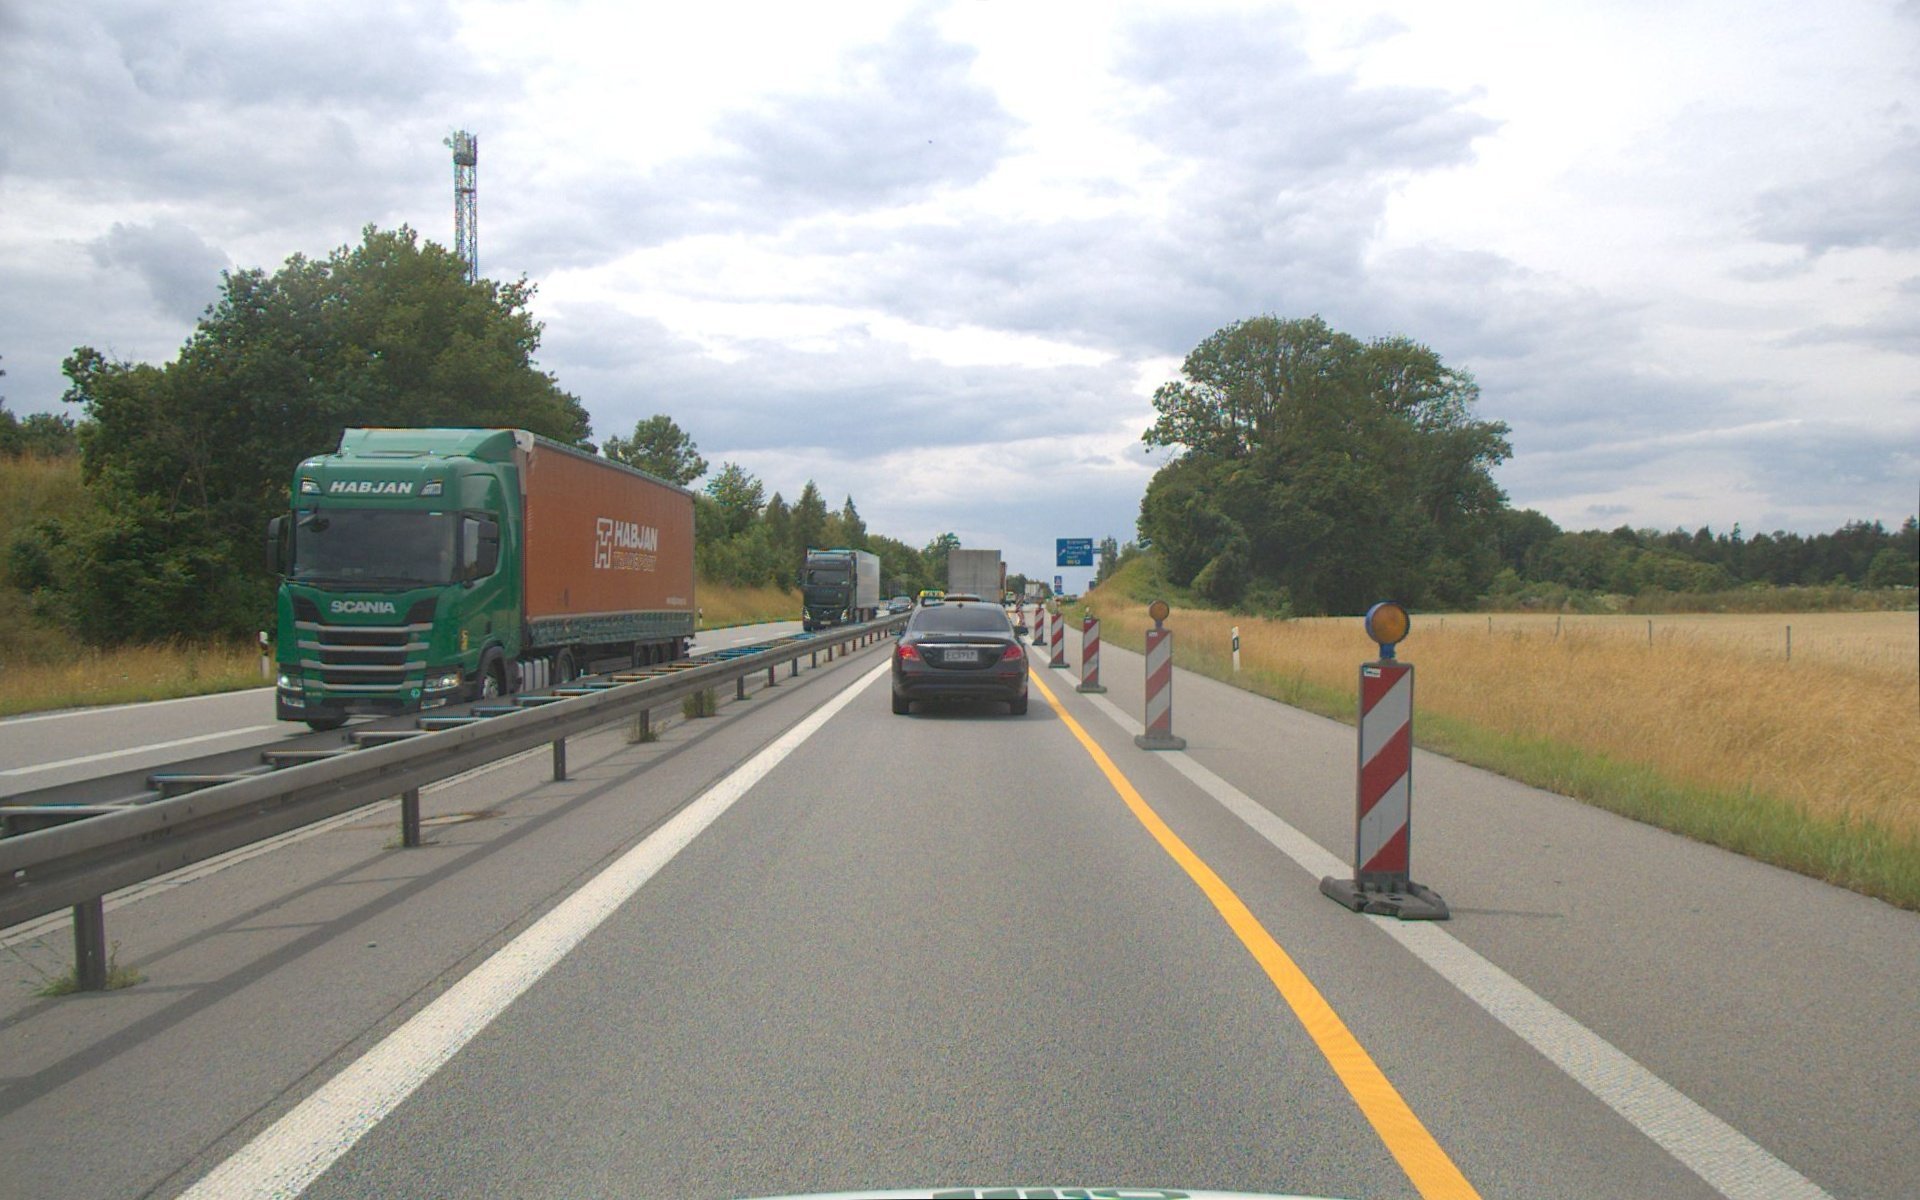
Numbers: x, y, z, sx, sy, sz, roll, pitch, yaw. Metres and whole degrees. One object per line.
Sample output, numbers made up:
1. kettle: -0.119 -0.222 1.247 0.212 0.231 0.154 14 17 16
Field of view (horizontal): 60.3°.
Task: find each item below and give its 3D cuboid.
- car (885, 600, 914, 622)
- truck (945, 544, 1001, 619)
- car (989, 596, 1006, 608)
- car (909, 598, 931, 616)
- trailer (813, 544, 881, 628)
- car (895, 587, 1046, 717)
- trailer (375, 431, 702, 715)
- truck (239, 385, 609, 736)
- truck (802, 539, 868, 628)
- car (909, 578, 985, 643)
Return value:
1. car: -4.655 0.835 127.791 1.952 1.646 4.000 1 -1 1
2. truck: 0.597 -0.857 81.864 2.535 3.586 4.810 1 -1 -2
3. car: 4.344 0.243 194.102 1.617 1.420 3.702 1 -1 -5
4. car: -3.822 0.663 159.579 1.952 1.646 4.000 1 -1 1
5. trailer: -6.048 -0.650 90.611 2.585 4.243 12.189 1 -1 1
6. car: 0.234 0.675 22.673 1.758 1.587 4.002 1 -1 4
7. trailer: -7.350 -0.345 31.131 3.086 4.287 11.641 1 -1 0
8. truck: -7.343 -0.451 23.854 3.059 4.287 6.780 1 -1 0
9. truck: -6.214 -0.762 83.109 2.585 4.243 6.986 1 -1 1
10. car: -0.476 0.345 55.084 1.957 2.049 3.991 1 -1 -9
